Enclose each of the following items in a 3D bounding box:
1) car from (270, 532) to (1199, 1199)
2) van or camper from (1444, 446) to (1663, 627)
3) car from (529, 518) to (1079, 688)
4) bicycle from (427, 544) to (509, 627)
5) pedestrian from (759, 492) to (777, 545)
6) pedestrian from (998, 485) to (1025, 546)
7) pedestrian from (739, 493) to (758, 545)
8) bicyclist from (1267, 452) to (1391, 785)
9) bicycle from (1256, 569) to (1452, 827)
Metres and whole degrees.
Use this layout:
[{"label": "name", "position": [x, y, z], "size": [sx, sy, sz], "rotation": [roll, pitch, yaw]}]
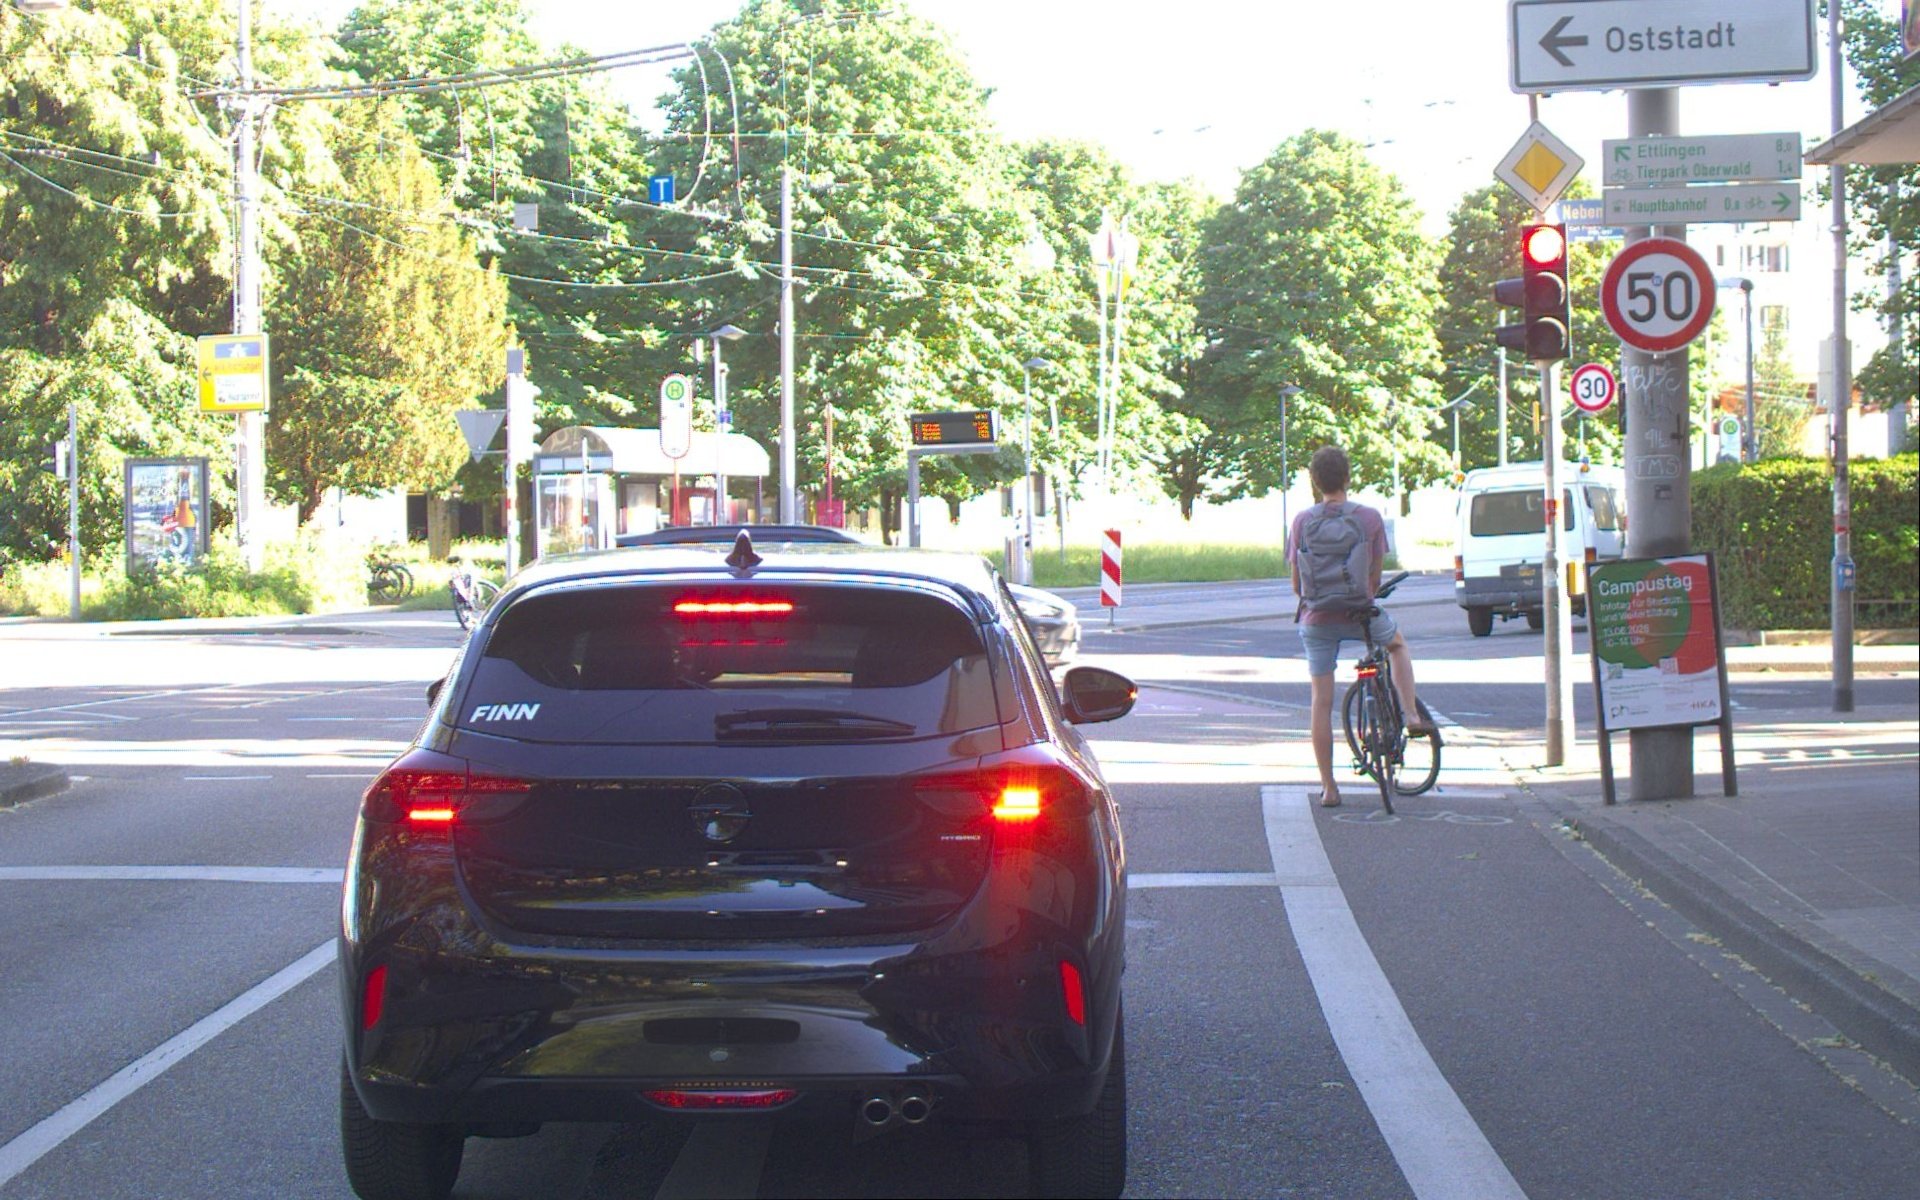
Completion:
[{"label": "car", "position": [-0.471, 0.567, 8.820], "size": [1.840, 1.457, 3.984], "rotation": [0, 1, -1]}, {"label": "van or camper", "position": [8.053, -0.839, 46.342], "size": [2.031, 2.302, 4.535], "rotation": [1, 1, 21]}, {"label": "car", "position": [-1.340, 0.005, 30.909], "size": [4.727, 1.468, 1.939], "rotation": [0, 1, 5]}, {"label": "bicycle", "position": [-6.612, -0.207, 46.275], "size": [0.796, 1.061, 2.185], "rotation": [0, 1, -1]}, {"label": "pedestrian", "position": [-6.806, -2.875, 121.718], "size": [0.603, 1.865, 0.519], "rotation": [1, 0, -6]}, {"label": "pedestrian", "position": [1.580, -2.595, 105.441], "size": [0.603, 1.865, 0.519], "rotation": [1, 0, -31]}, {"label": "pedestrian", "position": [-7.563, -2.898, 122.951], "size": [0.603, 1.865, 0.519], "rotation": [1, 0, -6]}, {"label": "bicyclist", "position": [1.915, 0.088, 17.790], "size": [0.534, 1.686, 0.567], "rotation": [0, 1, 17]}, {"label": "bicycle", "position": [2.080, 0.472, 17.941], "size": [0.753, 1.231, 2.014], "rotation": [0, 1, 14]}]
